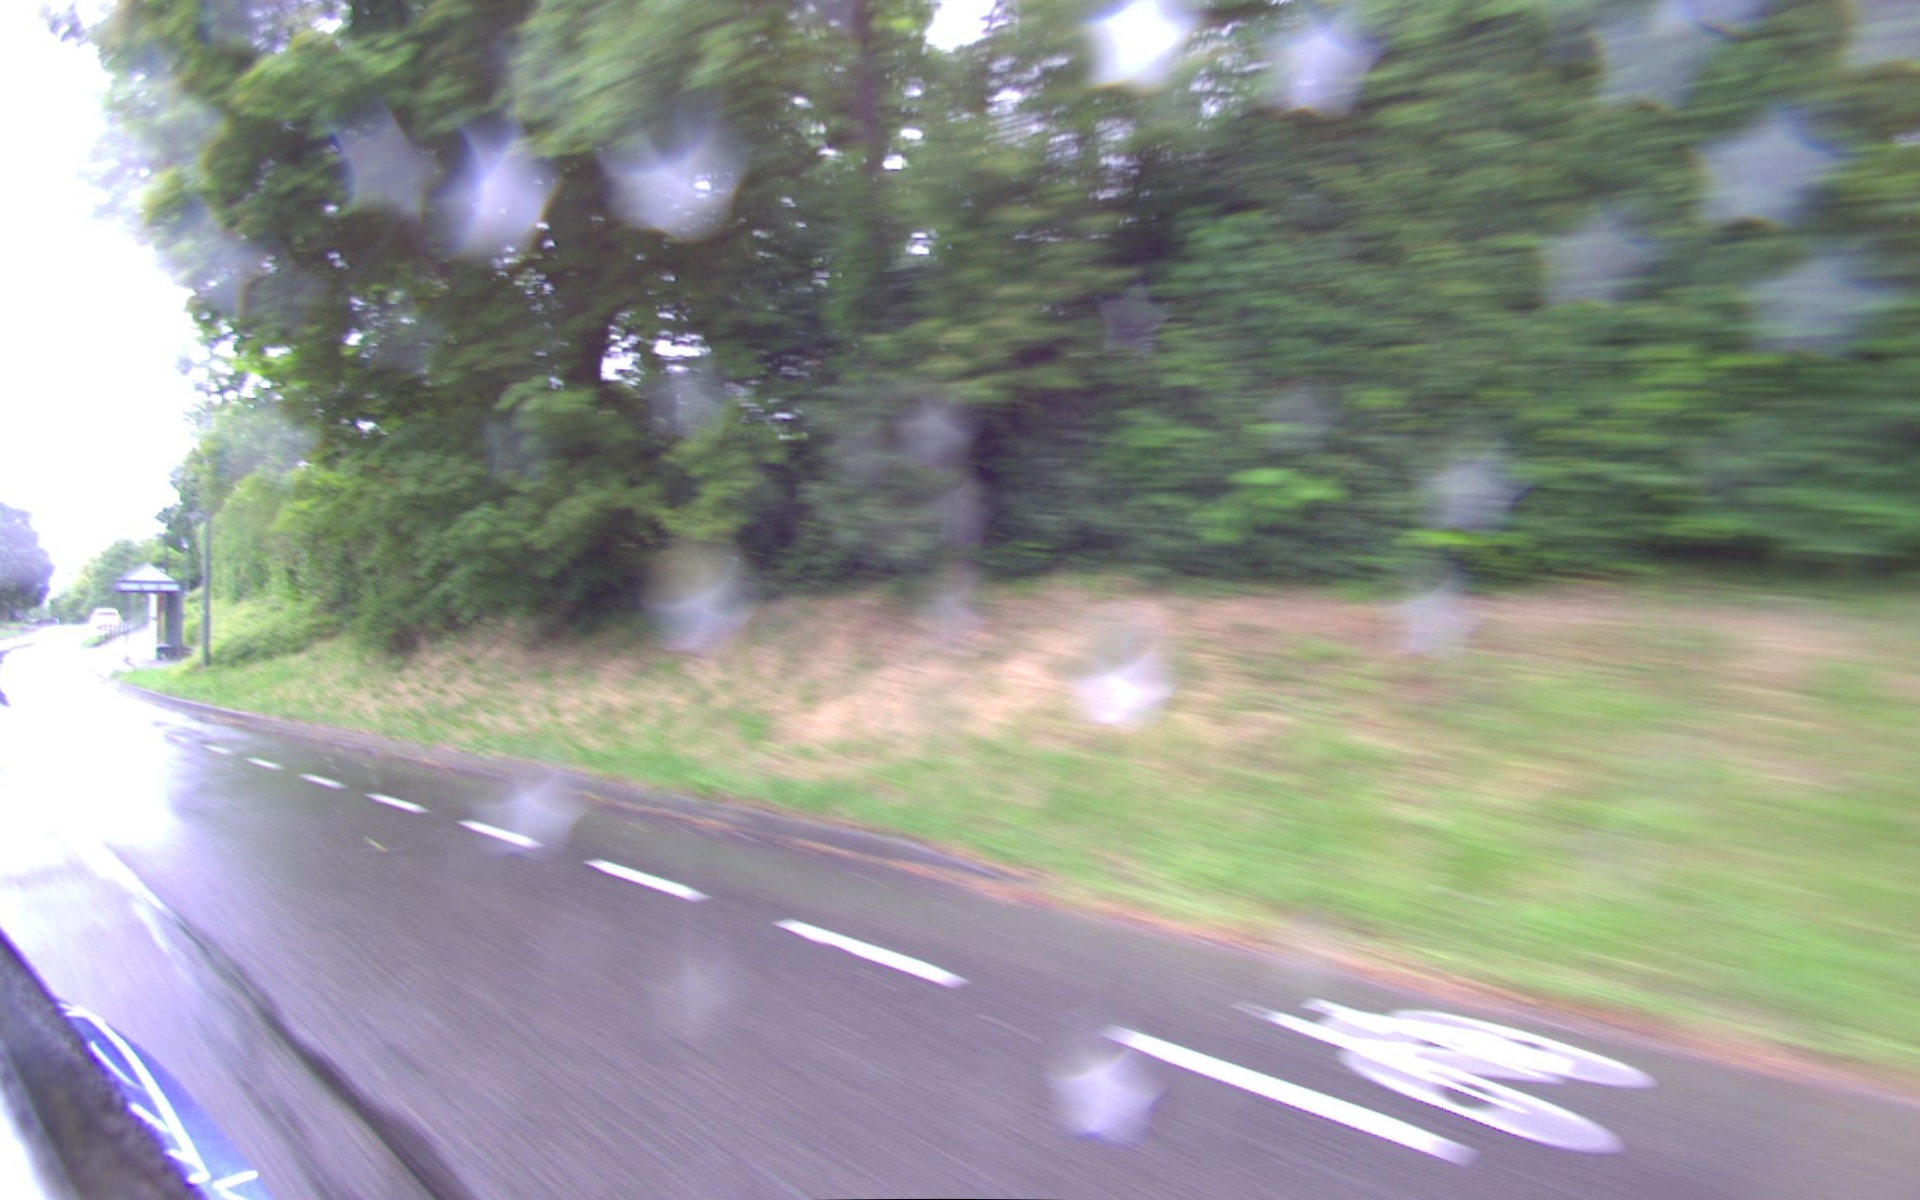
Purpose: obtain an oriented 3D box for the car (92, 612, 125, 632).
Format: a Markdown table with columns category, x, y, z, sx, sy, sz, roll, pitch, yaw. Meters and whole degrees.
| category | x | y | z | sx | sy | sz | roll | pitch | yaw |
| --- | --- | --- | --- | --- | --- | --- | --- | --- | --- |
| car | -63.531 | 1.663 | 75.549 | 1.551 | 1.421 | 3.482 | 3 | -3 | -36 |
